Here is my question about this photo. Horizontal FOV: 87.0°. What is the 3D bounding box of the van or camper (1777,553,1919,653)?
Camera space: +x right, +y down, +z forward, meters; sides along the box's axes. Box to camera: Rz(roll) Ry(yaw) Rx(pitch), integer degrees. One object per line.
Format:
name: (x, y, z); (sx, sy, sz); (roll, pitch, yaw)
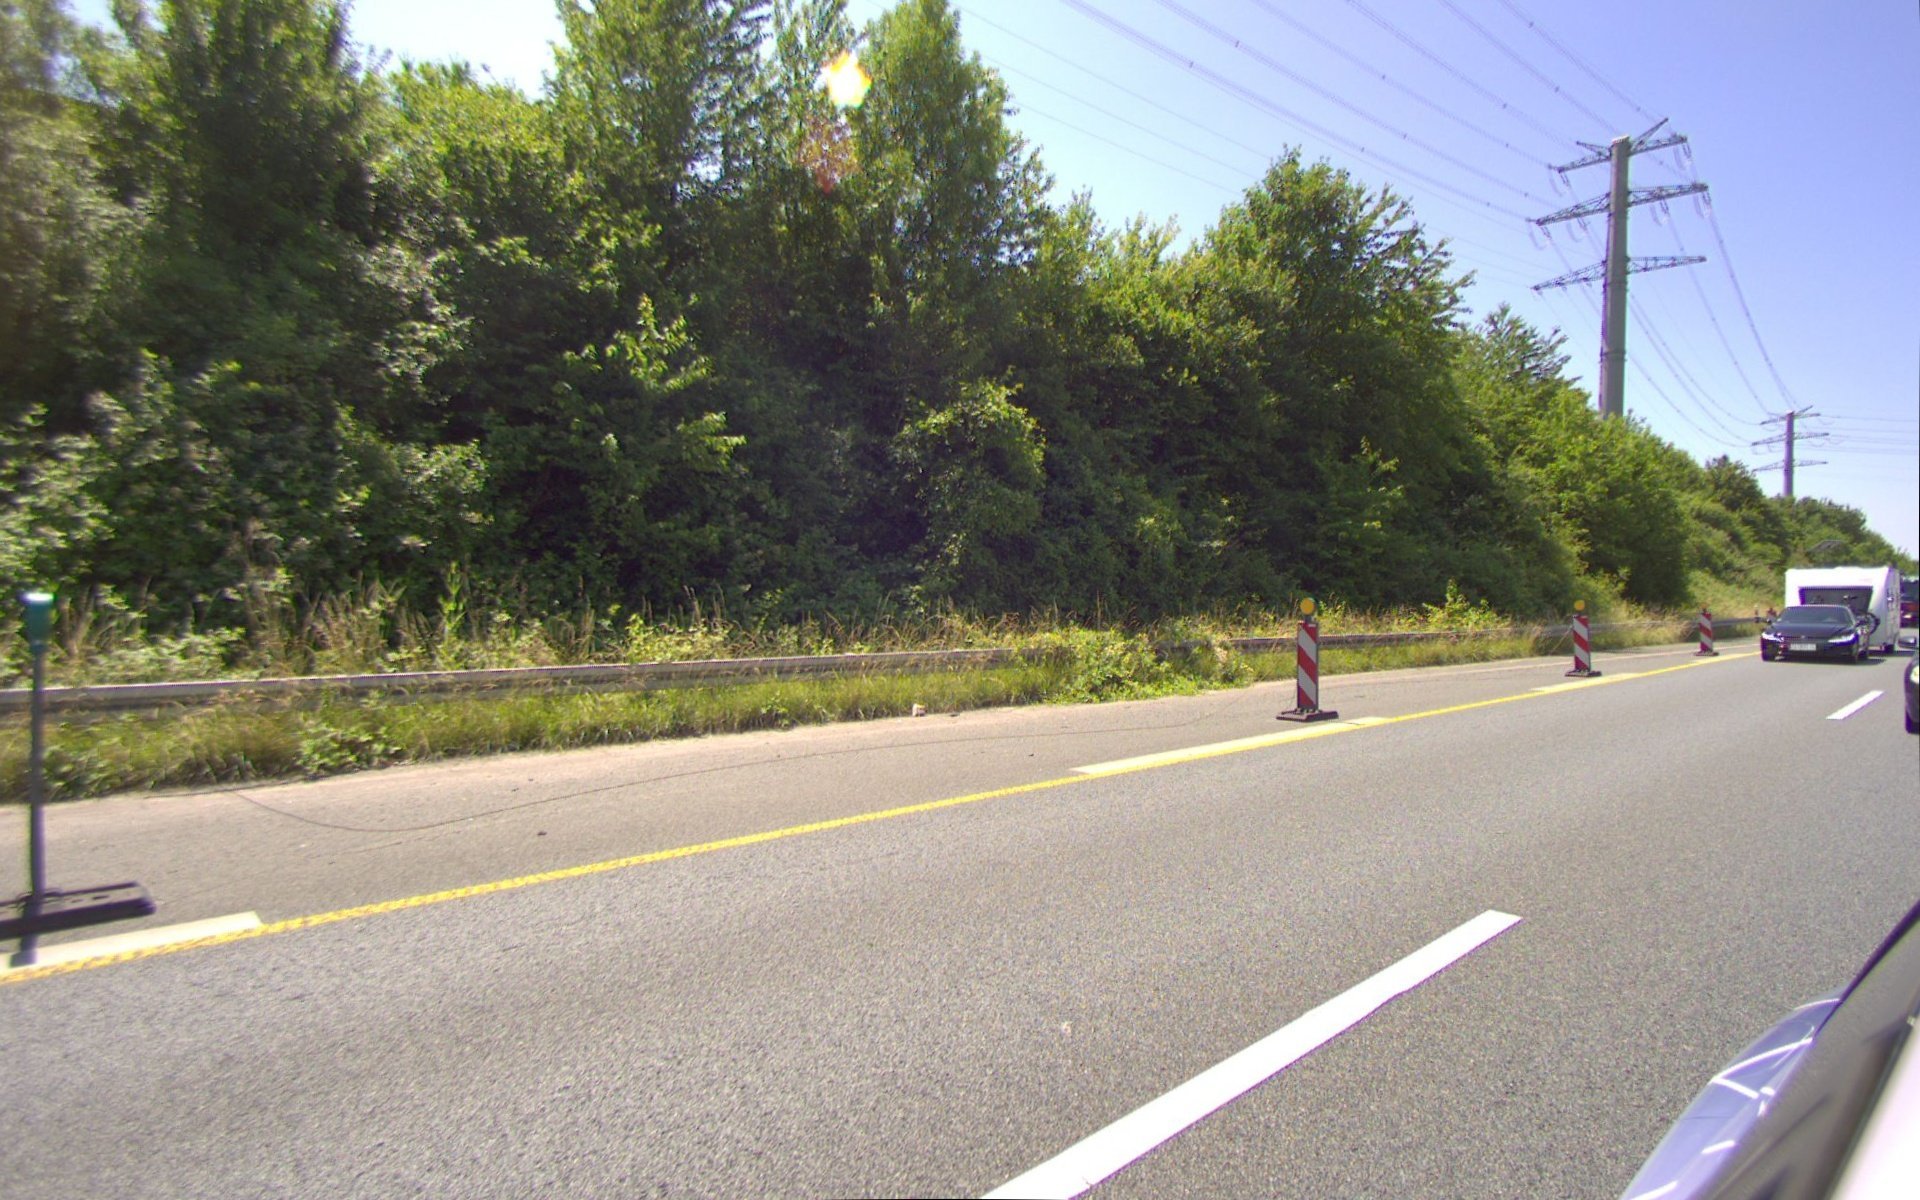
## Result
van or camper: (26.519, 0.058, 29.910); (8.273, 2.597, 2.429); (0, 0, -42)

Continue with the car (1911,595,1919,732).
car: (12.277, 0.679, 11.522); (3.931, 1.459, 1.796); (0, 0, -42)

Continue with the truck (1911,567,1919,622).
truck: (59.881, -0.349, 61.280); (7.512, 3.181, 2.429); (0, -2, -40)

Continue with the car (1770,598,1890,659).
car: (22.047, 0.659, 25.589); (4.137, 1.425, 1.798); (0, 0, -42)
